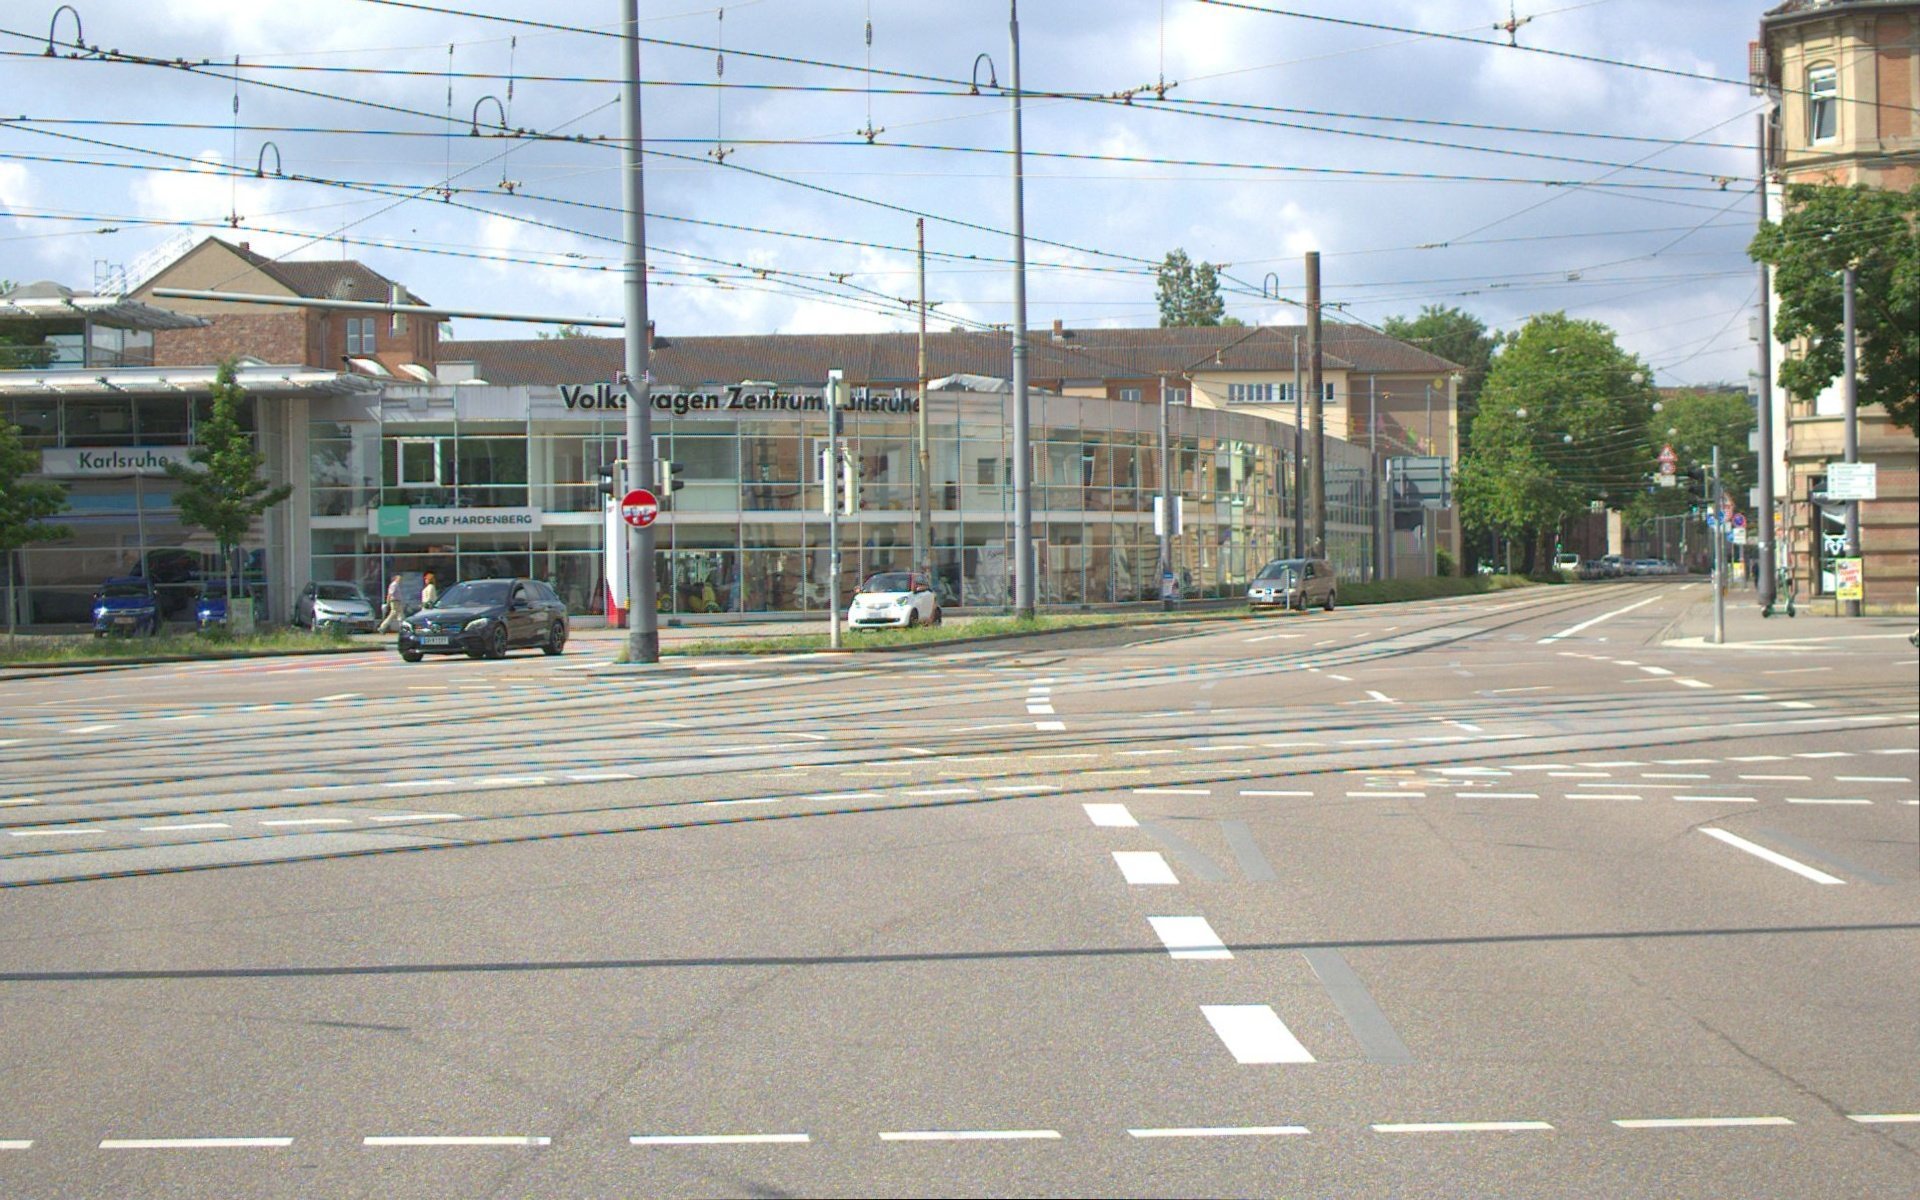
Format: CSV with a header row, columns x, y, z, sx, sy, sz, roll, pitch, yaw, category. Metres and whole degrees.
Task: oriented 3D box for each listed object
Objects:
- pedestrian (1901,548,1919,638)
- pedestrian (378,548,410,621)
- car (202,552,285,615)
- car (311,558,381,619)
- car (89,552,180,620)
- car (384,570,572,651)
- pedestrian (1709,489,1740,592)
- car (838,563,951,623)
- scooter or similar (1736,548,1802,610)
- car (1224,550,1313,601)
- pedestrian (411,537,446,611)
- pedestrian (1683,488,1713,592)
x,y,z,sx,sy,sz,roll,pitch,yaw,category
16.301,-0.127,58.026,0.741,1.511,0.544,0,0,22,pedestrian
-15.848,-0.441,96.276,0.869,2.007,0.704,-1,1,-10,pedestrian
-20.277,-0.449,97.452,1.993,1.720,4.001,1,0,-8,car
-17.779,-0.328,99.419,1.928,1.678,4.001,1,0,-11,car
-23.474,-0.391,97.891,1.993,1.831,4.001,-2,0,-6,car
-8.668,0.170,62.140,1.866,1.371,3.937,0,1,17,car
23.046,-1.794,103.611,0.725,3.065,0.887,1,0,23,pedestrian
-1.618,-0.166,86.663,1.687,1.465,3.653,1,0,19,car
18.785,-0.474,79.904,1.177,1.381,2.803,1,0,7,scooter or similar
9.807,-0.781,109.118,1.995,1.568,3.733,-1,1,19,car
-14.485,-0.710,93.701,0.807,2.007,0.808,-1,0,0,pedestrian
22.317,-1.805,103.950,0.667,3.110,0.887,1,0,23,pedestrian
